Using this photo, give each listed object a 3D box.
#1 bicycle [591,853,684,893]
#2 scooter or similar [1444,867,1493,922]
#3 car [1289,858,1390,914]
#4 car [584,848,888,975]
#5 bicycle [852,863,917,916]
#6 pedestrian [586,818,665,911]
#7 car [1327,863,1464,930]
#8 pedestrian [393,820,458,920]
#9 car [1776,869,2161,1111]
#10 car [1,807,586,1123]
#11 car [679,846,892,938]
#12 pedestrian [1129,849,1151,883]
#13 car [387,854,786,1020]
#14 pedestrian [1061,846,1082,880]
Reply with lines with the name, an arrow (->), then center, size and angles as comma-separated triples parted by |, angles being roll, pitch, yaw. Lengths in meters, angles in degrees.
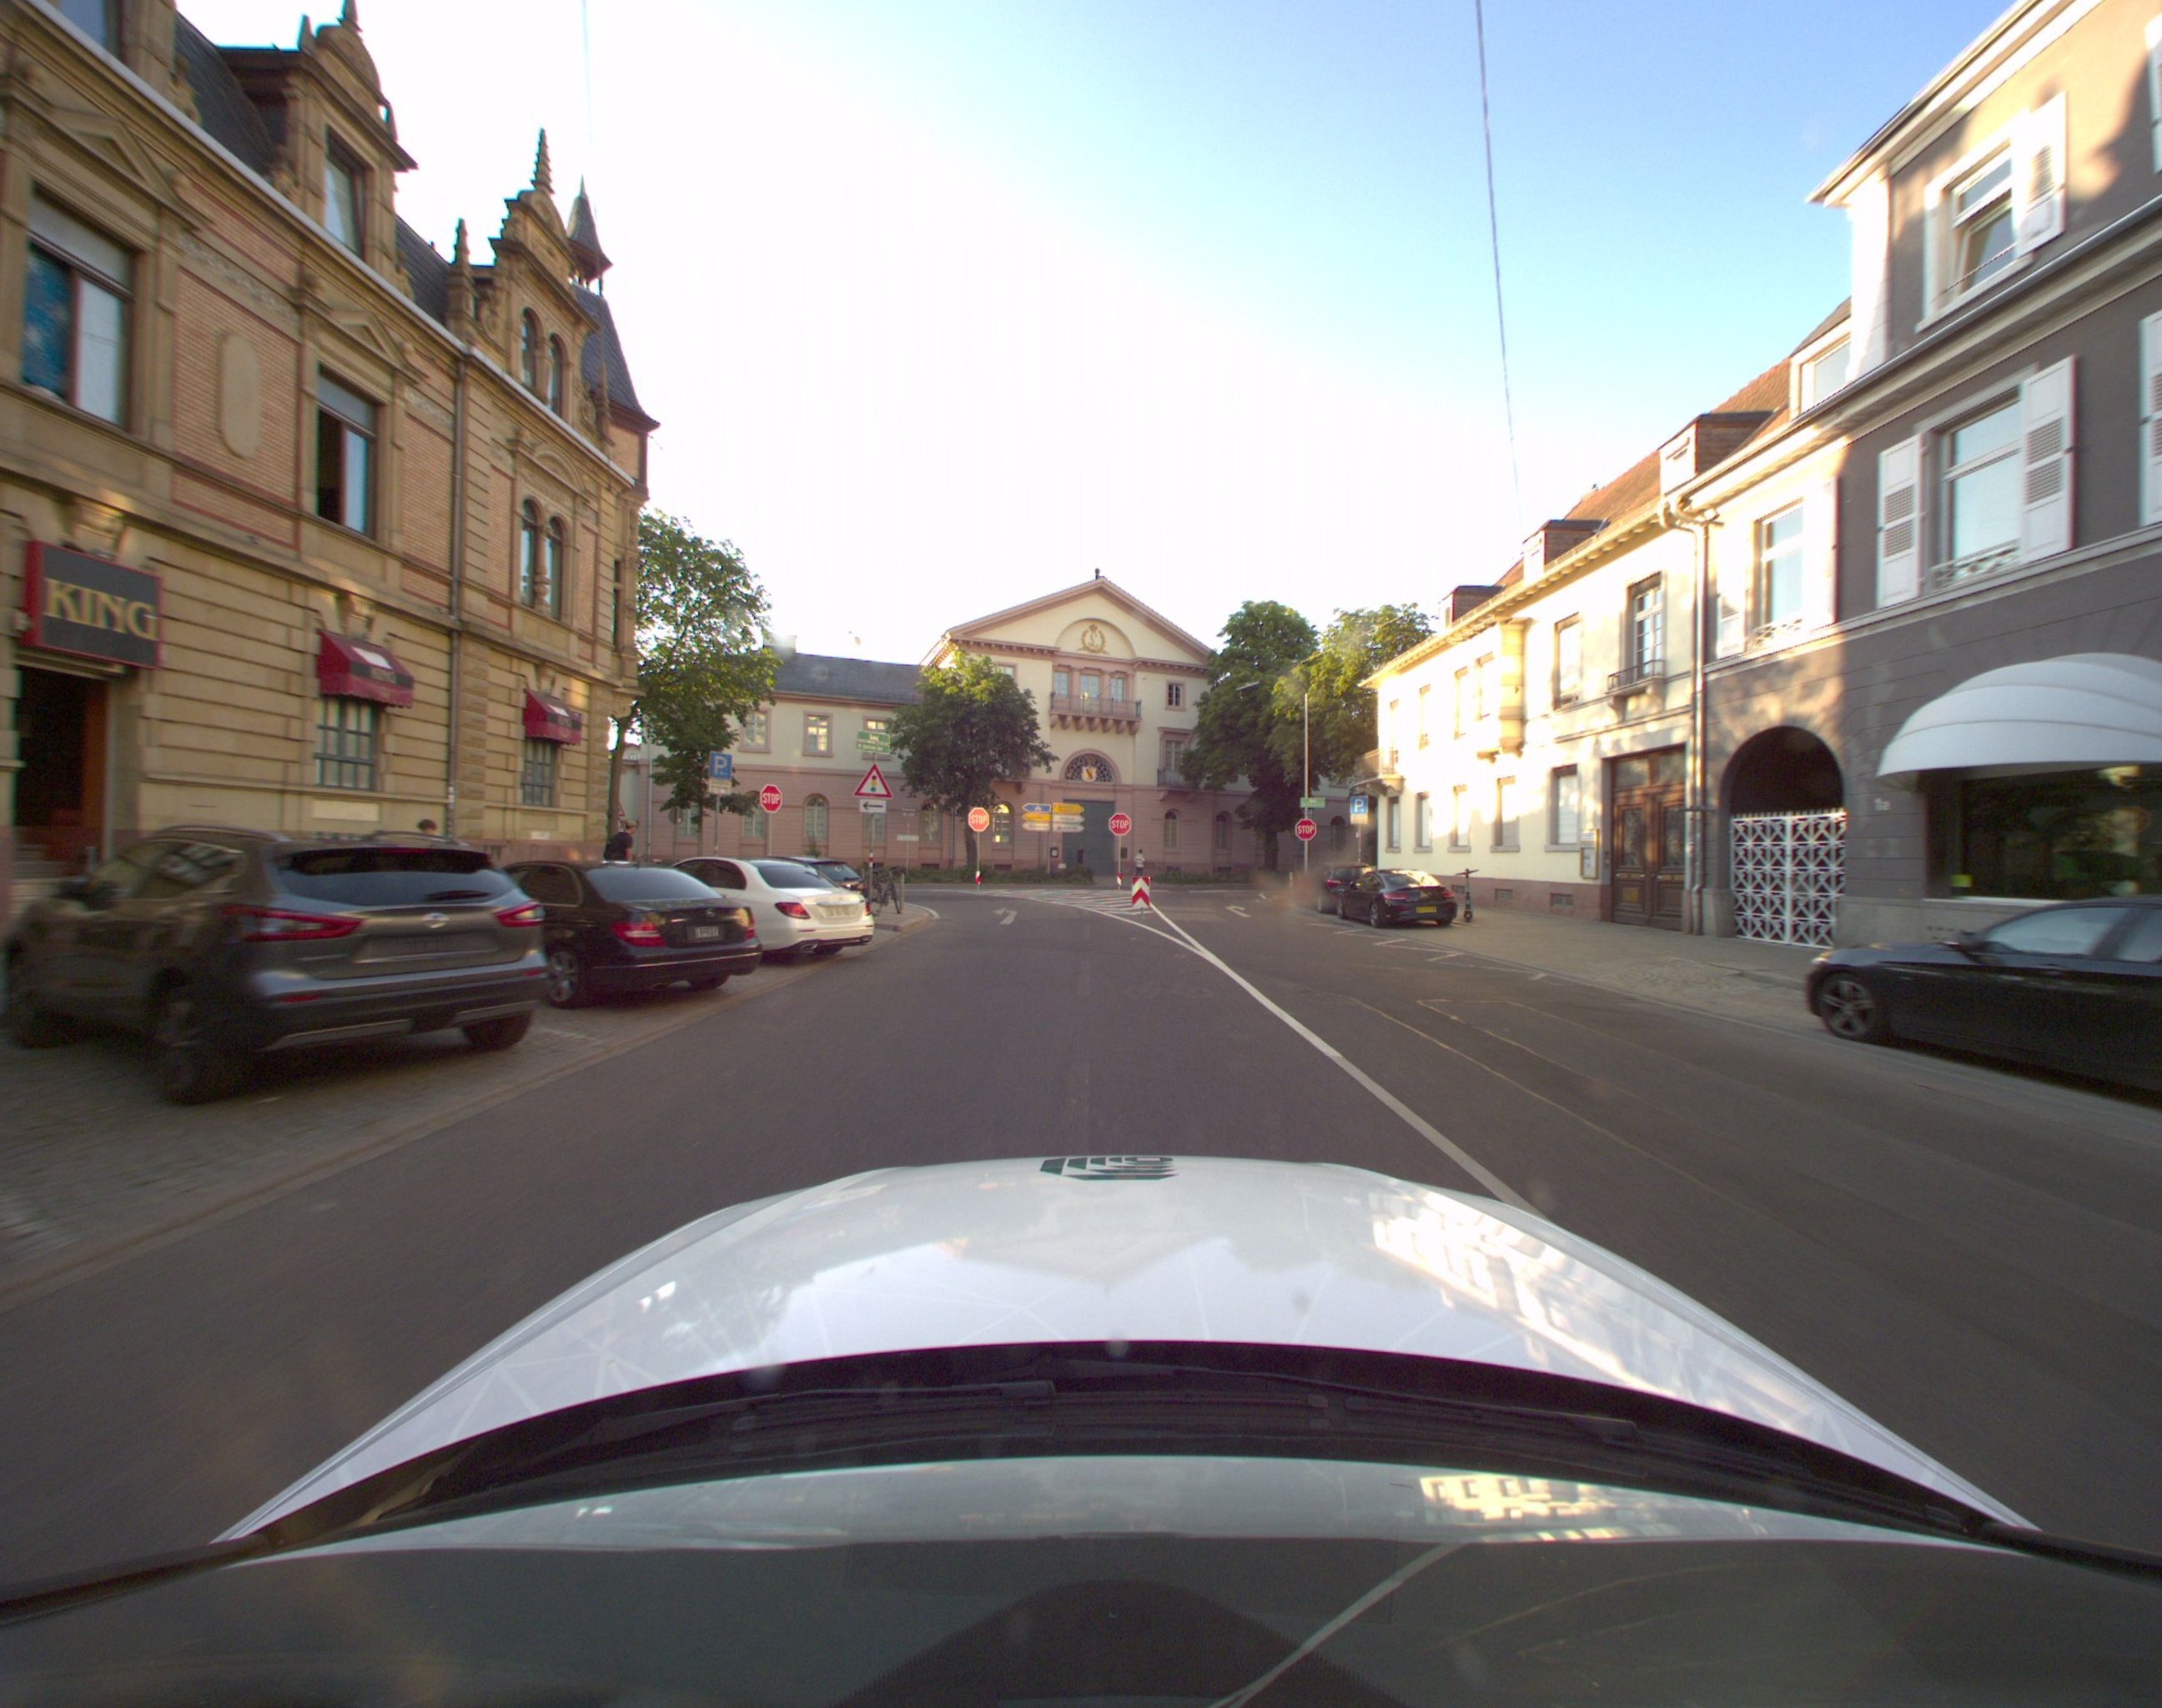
bicycle -> -14.702, 0.634, 27.060 | 2.561, 1.267, 0.844 | 1, 0, -7
scooter or similar -> 9.306, 0.948, 19.611 | 0.598, 1.233, 1.775 | -2, -1, 11
car -> 7.917, 0.922, 25.374 | 1.795, 1.541, 4.432 | 1, 0, 1
car -> -5.357, 0.754, 12.518 | 4.570, 1.512, 1.779 | 2, 0, 28
bicycle -> -4.478, 0.783, 18.716 | 0.721, 1.126, 1.808 | 3, 0, 10
pedestrian -> -8.894, 0.176, 15.906 | 1.272, 1.738, 0.842 | 0, 2, -35
car -> 7.772, 0.983, 20.637 | 1.766, 1.395, 4.861 | 1, 0, 3
pedestrian -> -10.855, 0.261, 13.494 | 0.574, 1.609, 0.521 | 2, 0, 2
car -> 7.588, 0.879, 5.797 | 1.736, 1.447, 4.250 | 1, 0, 1
car -> -5.776, 0.575, 5.953 | 4.000, 1.656, 1.803 | 0, 0, 26
car -> -5.953, 0.687, 16.396 | 3.816, 1.460, 1.751 | 4, 1, 25
pedestrian -> 3.164, 0.649, 43.847 | 0.931, 1.832, 0.794 | 1, 0, -26
car -> -5.452, 0.737, 8.915 | 4.199, 1.447, 1.721 | 0, 0, 26
pedestrian -> -0.515, 0.483, 44.435 | 0.801, 1.839, 1.075 | 1, 0, -22
